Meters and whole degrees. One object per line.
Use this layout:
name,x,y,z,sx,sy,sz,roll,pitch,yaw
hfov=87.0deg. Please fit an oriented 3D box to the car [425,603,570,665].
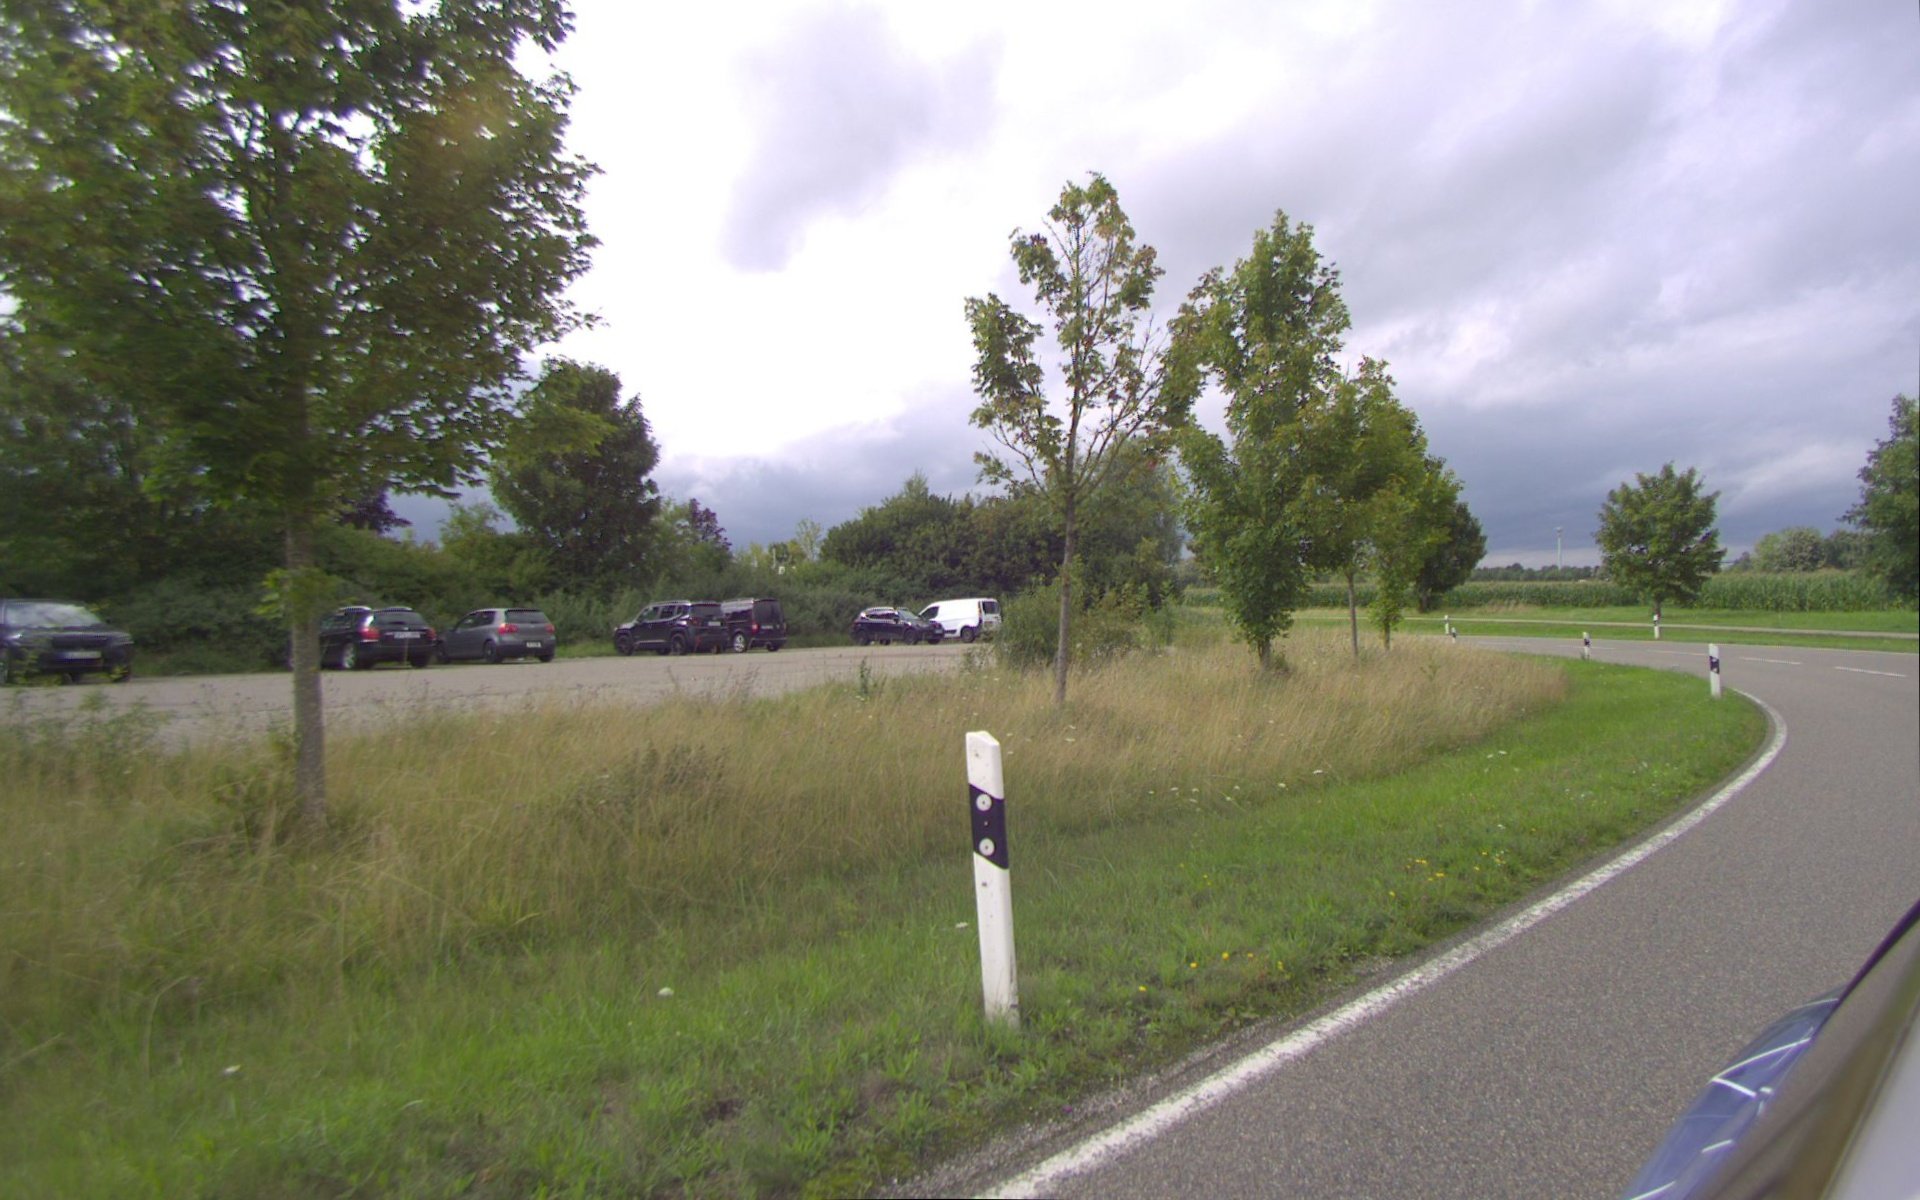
car,-12.551,0.872,27.378,3.990,1.524,2.023,0,0,39

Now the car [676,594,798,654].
car,-7.635,0.778,34.515,3.975,1.883,1.974,0,0,36

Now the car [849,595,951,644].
car,-2.457,0.770,41.223,3.975,1.883,1.722,0,0,36

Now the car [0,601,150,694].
car,-17.788,0.837,19.605,4.458,1.601,1.977,0,0,33

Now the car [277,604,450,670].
car,-14.445,0.846,24.458,4.134,1.432,1.977,0,0,33

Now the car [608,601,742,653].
car,-9.047,0.815,32.065,3.969,1.516,1.977,0,0,33

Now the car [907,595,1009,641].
car,-0.110,0.742,43.307,3.975,1.883,1.974,0,0,36
